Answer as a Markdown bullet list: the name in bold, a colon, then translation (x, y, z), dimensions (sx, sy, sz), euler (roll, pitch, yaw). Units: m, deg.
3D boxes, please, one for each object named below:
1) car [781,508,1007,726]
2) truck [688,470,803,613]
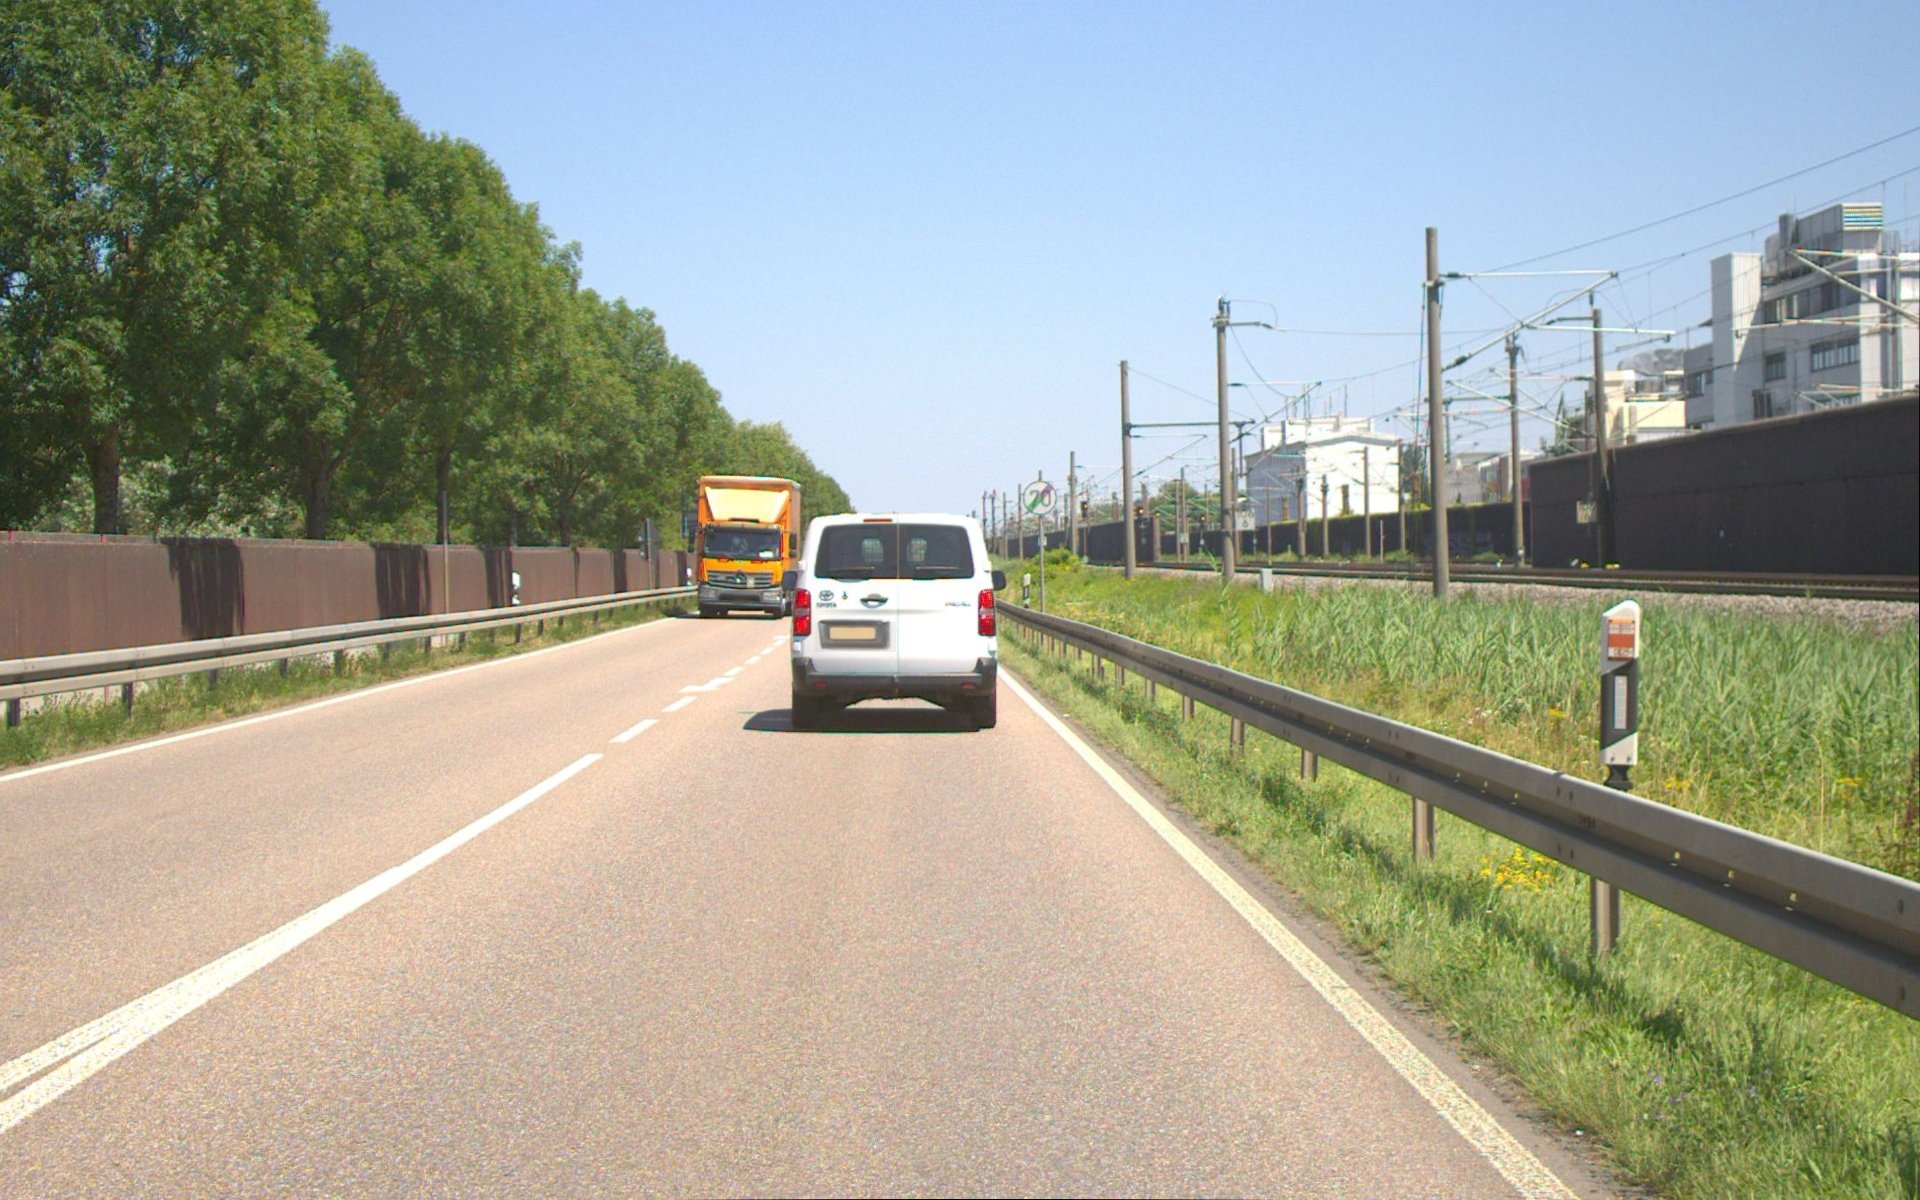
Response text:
- **car**: translation (-0.614, 0.130, 32.184), dimensions (1.945, 1.875, 4.881), euler (0, 0, -1)
- **truck**: translation (-5.974, -1.623, 96.903), dimensions (2.792, 3.827, 9.324), euler (0, 1, -1)
